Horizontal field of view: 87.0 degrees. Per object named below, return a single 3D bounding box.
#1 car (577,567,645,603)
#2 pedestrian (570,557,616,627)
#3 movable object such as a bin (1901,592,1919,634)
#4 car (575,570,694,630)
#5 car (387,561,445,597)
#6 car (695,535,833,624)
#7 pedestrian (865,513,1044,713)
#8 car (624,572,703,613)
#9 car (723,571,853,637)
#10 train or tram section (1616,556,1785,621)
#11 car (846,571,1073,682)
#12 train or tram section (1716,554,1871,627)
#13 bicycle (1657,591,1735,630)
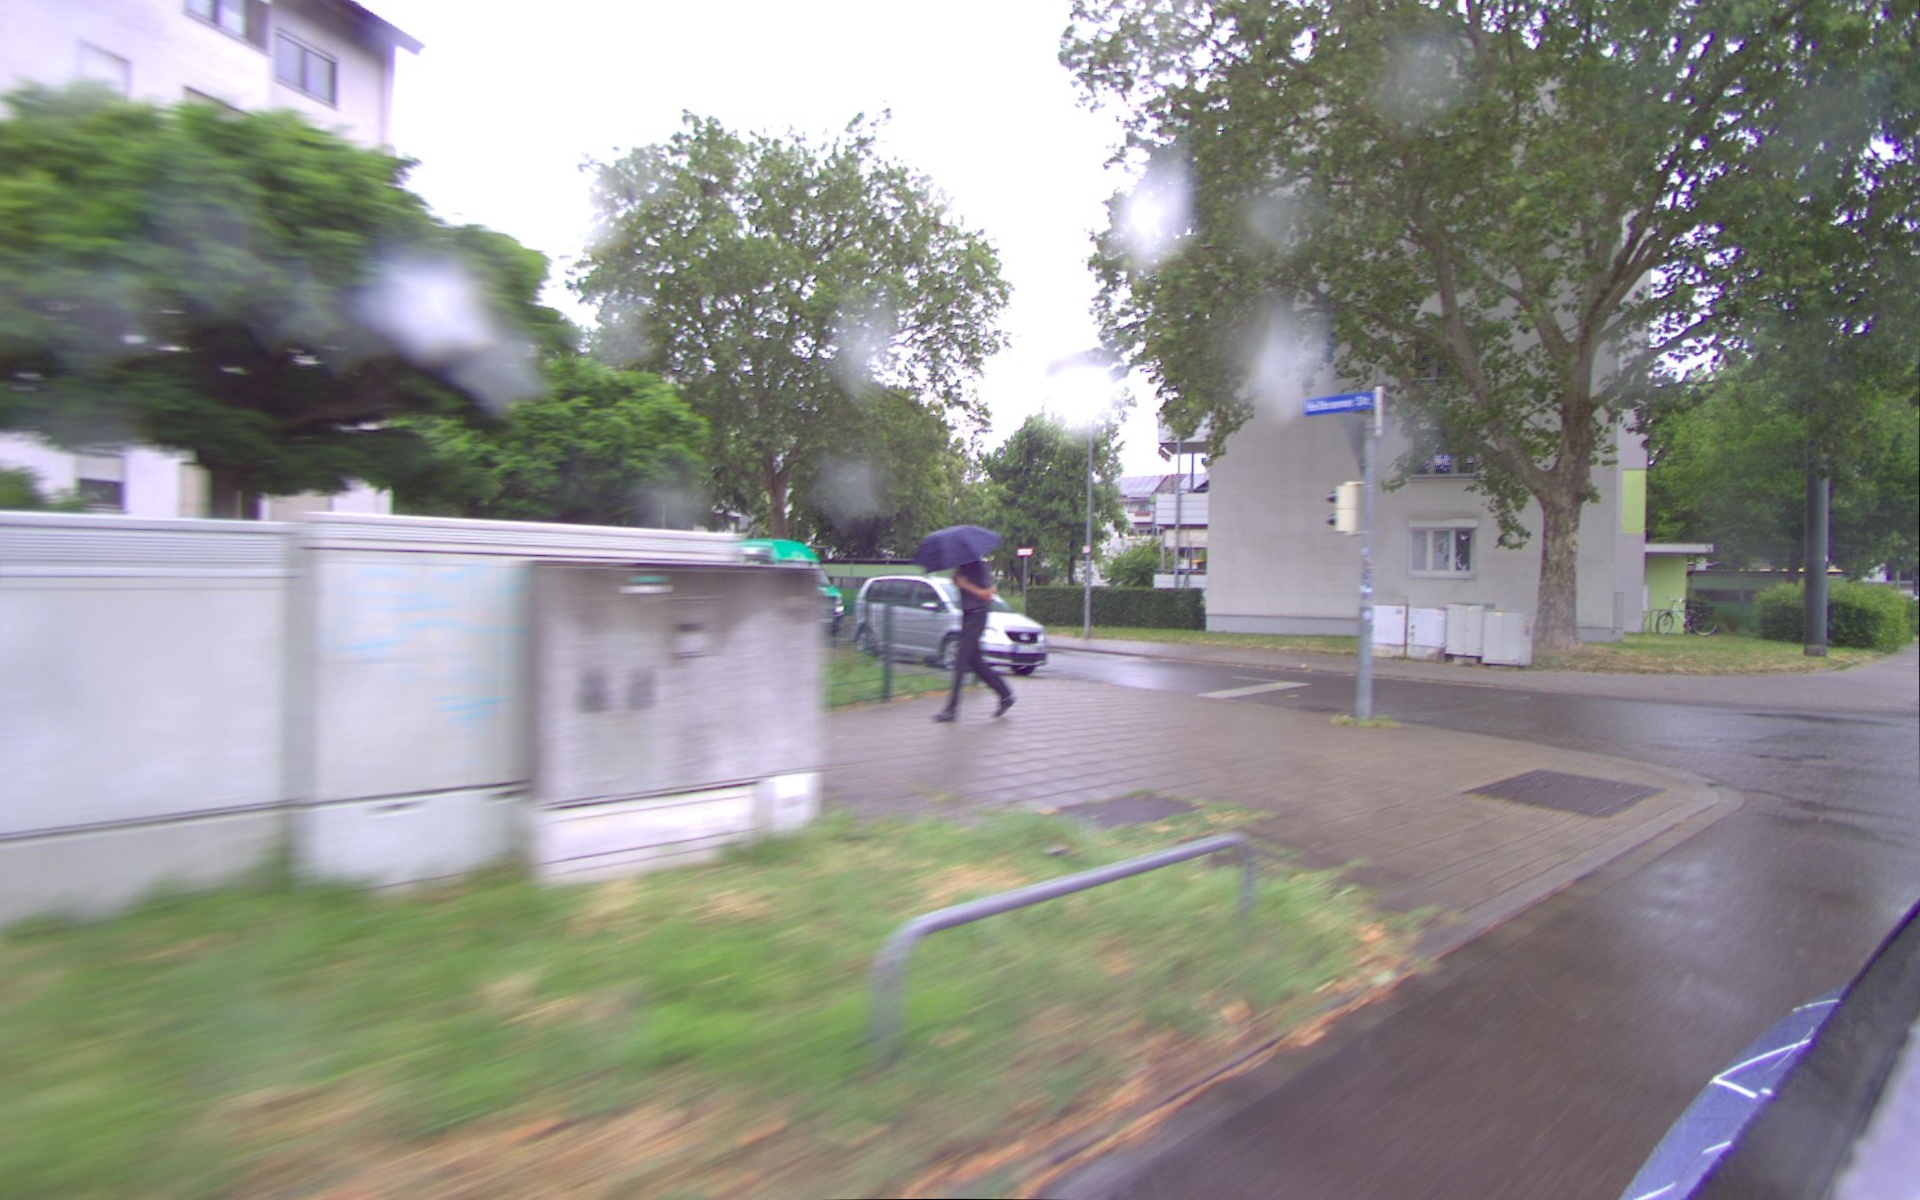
[{"bbox_3d":[-16.035,-0.723,46.366,1.708,1.524,4.003,1,1,-38],"label":"car"},{"bbox_3d":[-9.585,-0.214,26.418,0.708,1.791,1.179,1,1,-43],"label":"pedestrian"},{"bbox_3d":[34.535,0.478,35.810,1.134,1.458,1.473,2,1,9],"label":"movable object such as a bin"},{"bbox_3d":[-9.470,-0.044,29.207,1.902,1.524,4.305,0,2,-38],"label":"car"},{"bbox_3d":[-26.899,-1.065,50.000,1.656,1.676,4.301,0,2,-41],"label":"car"},{"bbox_3d":[-6.898,-0.728,34.979,2.147,2.813,6.136,1,1,-38],"label":"car"},{"bbox_3d":[-0.067,0.114,10.125,1.405,1.836,1.104,1,1,-30],"label":"pedestrian"},{"bbox_3d":[-12.055,-0.330,40.985,1.708,1.524,4.003,0,2,-38],"label":"car"},{"bbox_3d":[-4.823,0.056,28.079,1.745,1.671,3.995,1,1,-41],"label":"car"},{"bbox_3d":[42.362,-0.743,58.489,2.708,3.381,10.342,2,2,4],"label":"train or tram section"},{"bbox_3d":[-0.137,0.368,18.241,1.837,1.701,4.305,0,2,-38],"label":"car"},{"bbox_3d":[41.853,-0.531,51.131,2.708,3.381,6.395,2,1,4],"label":"train or tram section"},{"bbox_3d":[22.822,0.316,31.416,1.841,1.156,0.529,1,0,25],"label":"bicycle"}]
